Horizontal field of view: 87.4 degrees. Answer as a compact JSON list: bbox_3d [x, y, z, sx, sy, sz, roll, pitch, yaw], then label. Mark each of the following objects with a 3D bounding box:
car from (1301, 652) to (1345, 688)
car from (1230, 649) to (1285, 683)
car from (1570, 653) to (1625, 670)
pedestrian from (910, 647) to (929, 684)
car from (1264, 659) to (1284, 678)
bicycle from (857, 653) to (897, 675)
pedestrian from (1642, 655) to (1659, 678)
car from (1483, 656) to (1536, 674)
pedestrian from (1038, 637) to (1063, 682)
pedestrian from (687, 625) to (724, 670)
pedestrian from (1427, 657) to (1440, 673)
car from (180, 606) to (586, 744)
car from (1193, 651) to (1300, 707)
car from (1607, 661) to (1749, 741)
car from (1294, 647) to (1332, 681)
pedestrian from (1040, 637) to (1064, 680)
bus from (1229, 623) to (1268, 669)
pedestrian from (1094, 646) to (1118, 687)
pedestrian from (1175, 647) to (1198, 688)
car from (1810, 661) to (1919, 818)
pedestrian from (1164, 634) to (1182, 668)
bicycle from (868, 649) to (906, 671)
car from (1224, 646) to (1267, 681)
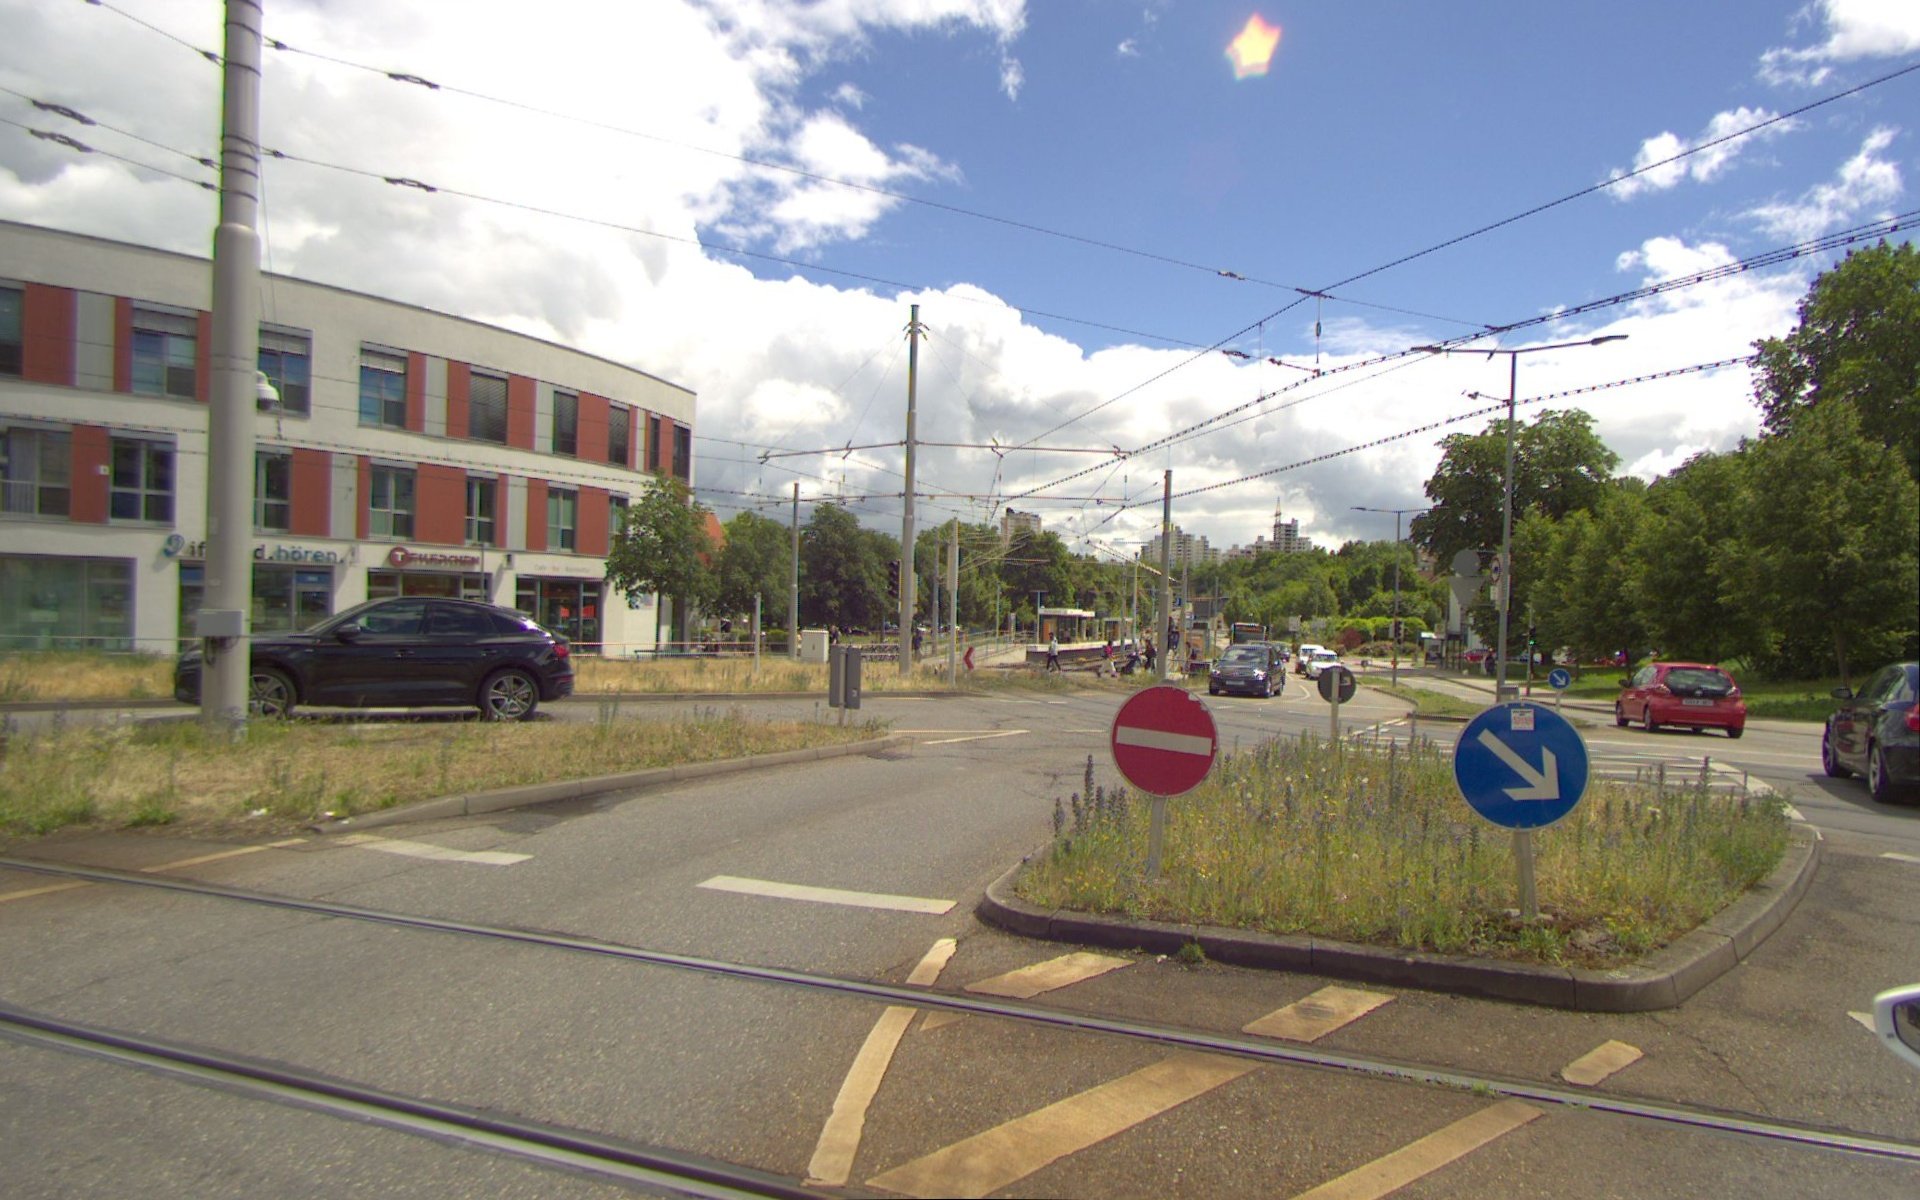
[{"bbox_3d":[19.454,3.719,53.953,1.670,1.670,4.081,2,-1,13],"label":"car"},{"bbox_3d":[13.624,3.023,46.206,1.766,1.428,5.058,2,-3,10],"label":"car"},{"bbox_3d":[61.214,5.912,96.548,4.011,1.522,2.001,0,-1,13],"label":"car"},{"bbox_3d":[-1.860,3.001,46.055,0.818,1.625,0.670,1,1,3],"label":"pedestrian"},{"bbox_3d":[28.844,6.267,92.327,1.504,1.571,3.735,3,-2,14],"label":"car"},{"bbox_3d":[-4.187,3.212,50.506,1.867,1.077,0.694,1,-3,17],"label":"bicycle"},{"bbox_3d":[55.801,5.363,81.190,0.970,1.783,0.858,0,-2,25],"label":"pedestrian"},{"bbox_3d":[49.065,5.811,89.708,3.728,1.476,1.897,0,-1,12],"label":"car"},{"bbox_3d":[3.855,2.529,42.782,0.891,1.846,0.772,1,-2,19],"label":"pedestrian"},{"bbox_3d":[-11.958,2.229,47.184,1.238,2.040,1.135,-1,-3,39],"label":"pedestrian"},{"bbox_3d":[38.329,5.253,81.297,0.813,1.275,0.686,1,-1,17],"label":"pedestrian"},{"bbox_3d":[-7.606,1.007,13.619,4.439,1.589,1.937,3,-5,-32],"label":"car"},{"bbox_3d":[9.056,2.457,31.524,1.782,1.601,4.281,0,-3,37],"label":"car"},{"bbox_3d":[15.202,2.080,21.469,1.737,1.451,3.478,0,-2,23],"label":"car"},{"bbox_3d":[22.264,3.983,63.523,1.731,1.685,4.507,1,2,13],"label":"car"},{"bbox_3d":[4.017,2.539,43.844,0.891,1.846,0.772,1,-2,19],"label":"pedestrian"},{"bbox_3d":[22.537,3.494,78.923,2.680,3.150,9.708,2,0,15],"label":"bus"},{"bbox_3d":[5.948,2.704,40.915,0.786,1.560,0.835,5,-2,13],"label":"pedestrian"},{"bbox_3d":[9.468,2.803,41.982,0.847,1.657,0.921,0,-3,19],"label":"pedestrian"},{"bbox_3d":[10.431,1.384,10.570,1.790,1.439,3.990,0,-3,34],"label":"car"},{"bbox_3d":[12.915,3.101,60.947,0.955,2.040,1.029,1,-2,18],"label":"pedestrian"},{"bbox_3d":[-3.738,3.076,51.684,1.871,1.042,0.693,0,-2,30],"label":"bicycle"},{"bbox_3d":[16.403,3.637,57.887,1.959,1.845,5.077,2,-3,12],"label":"car"}]
